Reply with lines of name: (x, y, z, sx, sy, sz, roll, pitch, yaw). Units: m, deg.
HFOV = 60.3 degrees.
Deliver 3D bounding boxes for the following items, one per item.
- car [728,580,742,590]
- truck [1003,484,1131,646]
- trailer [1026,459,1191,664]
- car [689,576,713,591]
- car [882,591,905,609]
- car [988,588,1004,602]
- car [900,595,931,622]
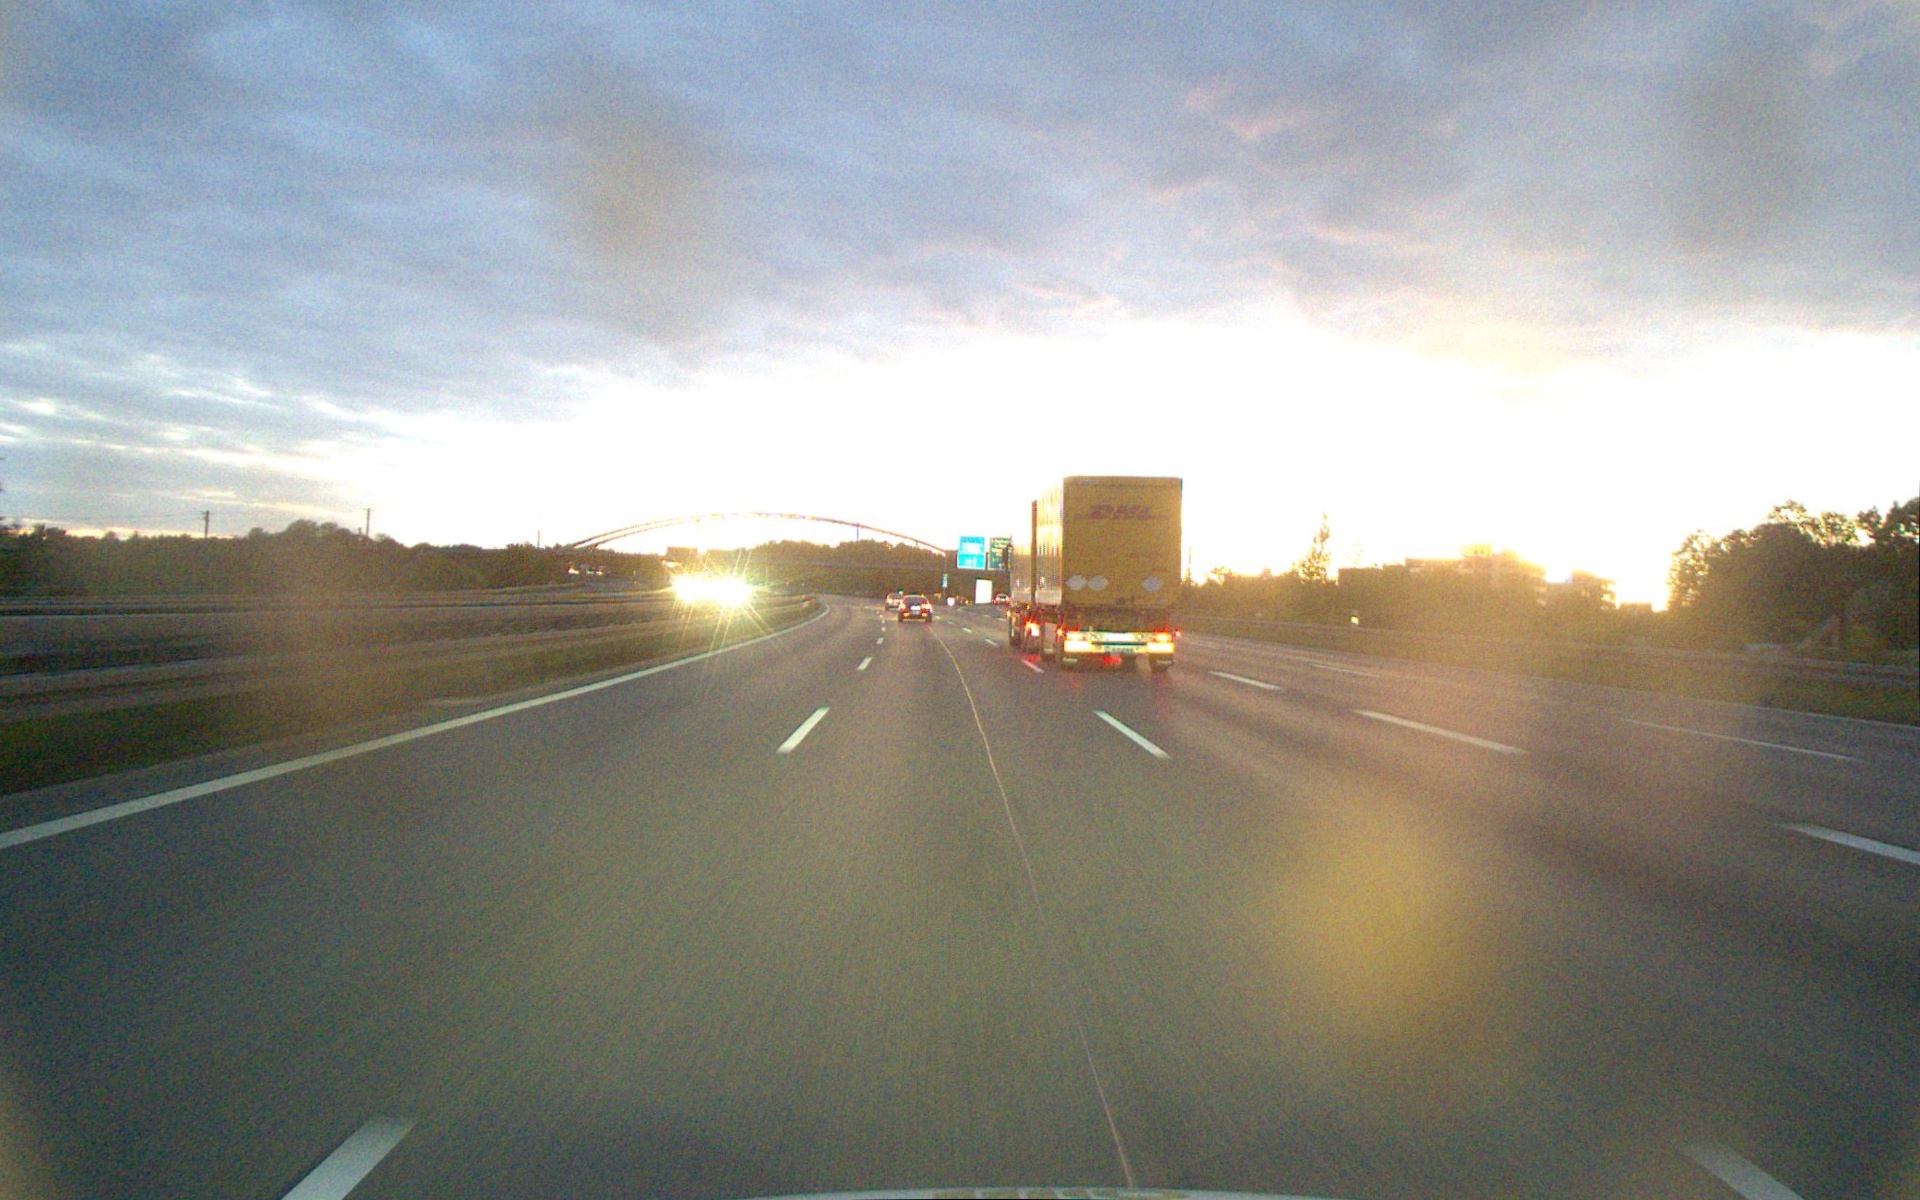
car: (-32.747, -2.249, 241.167, 1.956, 1.428, 4.791, 1, 1, -7)
truck: (2.909, -0.955, 47.987, 2.636, 4.142, 10.516, 1, 1, -2)
trailer: (3.222, -0.837, 38.309, 2.667, 4.142, 8.828, 1, 1, -2)
car: (-23.415, -1.491, 149.526, 1.687, 1.248, 4.181, 1, 1, -2)
car: (-5.797, 0.010, 144.773, 1.654, 1.426, 3.410, 0, -1, 4)
car: (4.899, -0.702, 223.169, 1.952, 1.747, 4.001, 2, -1, 3)
car: (-2.453, 0.475, 91.106, 1.655, 1.426, 3.407, 1, -1, -2)
